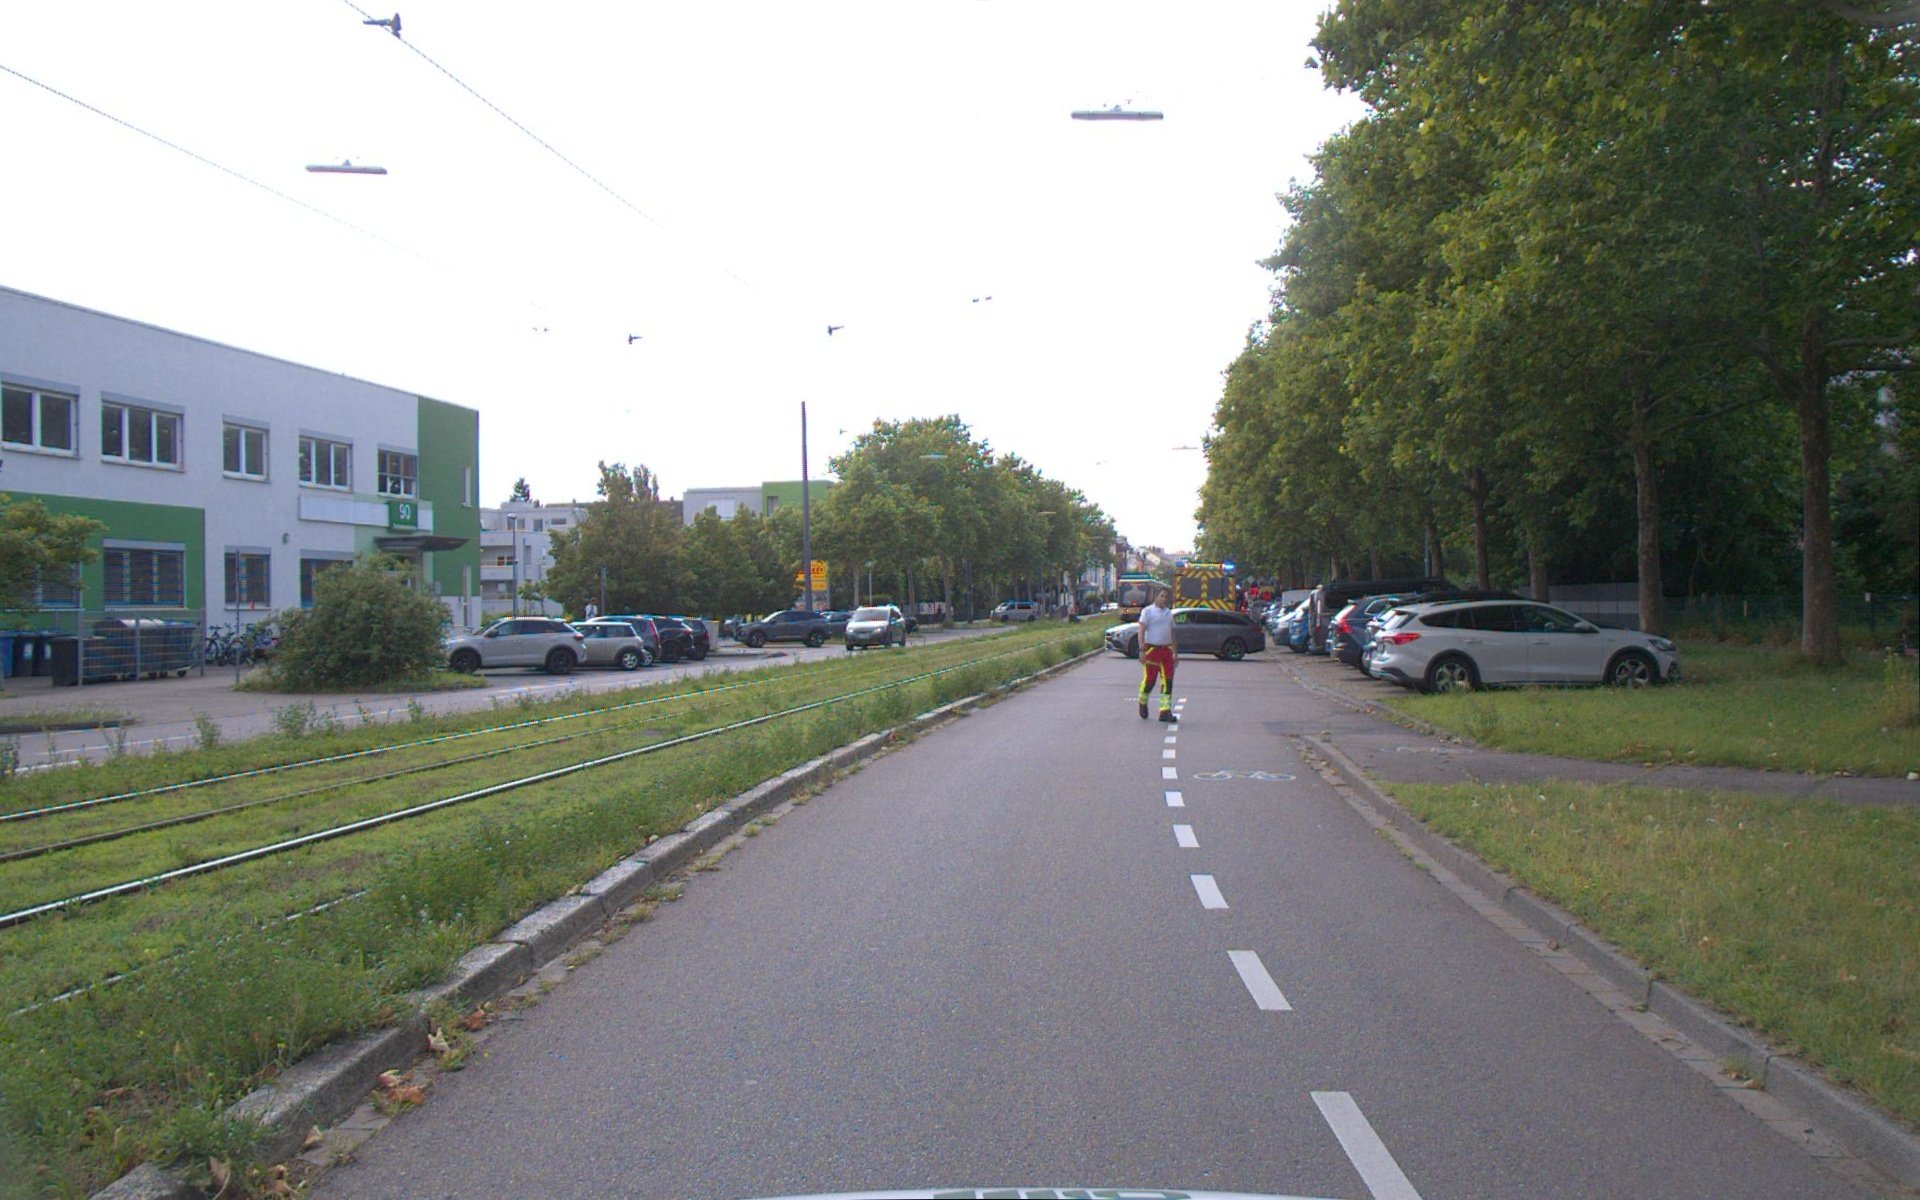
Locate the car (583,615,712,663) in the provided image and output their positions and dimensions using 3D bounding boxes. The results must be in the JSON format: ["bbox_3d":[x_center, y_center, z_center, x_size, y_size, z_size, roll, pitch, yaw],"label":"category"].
[{"bbox_3d":[-10.880,1.340,57.622,4.160,1.508,1.872,-1,0,-20],"label":"car"}]

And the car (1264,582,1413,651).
[{"bbox_3d":[12.195,0.530,53.489,4.449,2.036,1.857,-2,-1,5],"label":"car"}]

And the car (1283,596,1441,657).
[{"bbox_3d":[12.320,0.809,50.895,4.450,1.689,1.857,-2,-1,4],"label":"car"}]

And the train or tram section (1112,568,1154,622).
[{"bbox_3d":[12.330,-0.290,117.465,2.458,3.647,7.450,-2,-1,8],"label":"train or tram section"}]

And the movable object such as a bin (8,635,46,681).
[{"bbox_3d":[-22.257,1.388,39.455,0.556,1.060,0.565,1,1,10],"label":"movable object such as a bin"}]

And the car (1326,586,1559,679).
[{"bbox_3d":[9.565,0.644,33.115,4.287,1.668,1.757,-2,-1,11],"label":"car"}]

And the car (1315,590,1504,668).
[{"bbox_3d":[10.422,0.670,38.527,3.885,1.633,1.755,-2,-1,-2],"label":"car"}]

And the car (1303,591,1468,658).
[{"bbox_3d":[12.363,0.715,48.320,4.449,1.797,1.857,-2,-1,8],"label":"car"}]

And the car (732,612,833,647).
[{"bbox_3d":[-7.721,1.281,71.826,4.152,1.508,1.875,0,-1,-16],"label":"car"}]

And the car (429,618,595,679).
[{"bbox_3d":[-12.371,1.303,45.652,4.168,1.508,1.868,-1,0,-25],"label":"car"}]

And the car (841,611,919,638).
[{"bbox_3d":[-4.629,1.429,95.932,4.178,1.508,1.864,0,-1,-31],"label":"car"}]

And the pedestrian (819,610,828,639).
[{"bbox_3d":[-8.358,1.497,101.275,0.456,1.706,0.604,-1,-1,7],"label":"pedestrian"}]

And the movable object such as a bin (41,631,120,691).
[{"bbox_3d":[-19.564,1.338,36.824,0.984,1.255,1.257,1,1,11],"label":"movable object such as a bin"}]

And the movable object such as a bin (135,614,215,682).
[{"bbox_3d":[-18.968,1.148,40.005,0.984,1.546,1.606,1,1,11],"label":"movable object such as a bin"}]

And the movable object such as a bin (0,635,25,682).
[{"bbox_3d":[-22.390,1.376,38.813,0.556,1.060,0.565,1,1,10],"label":"movable object such as a bin"}]

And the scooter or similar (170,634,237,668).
[{"bbox_3d":[-20.924,1.411,45.735,1.698,0.915,0.459,1,-1,9],"label":"scooter or similar"}]

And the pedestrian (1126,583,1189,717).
[{"bbox_3d":[2.562,0.640,21.526,0.786,1.716,0.851,0,-1,6],"label":"pedestrian"}]

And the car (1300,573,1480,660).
[{"bbox_3d":[11.496,0.446,44.466,4.449,2.160,1.857,-2,-1,8],"label":"car"}]

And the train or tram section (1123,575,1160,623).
[{"bbox_3d":[14.540,-0.028,132.188,2.458,3.647,7.450,-2,-1,8],"label":"train or tram section"}]

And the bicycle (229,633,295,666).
[{"bbox_3d":[-20.407,1.448,48.359,1.818,0.915,0.459,1,-1,9],"label":"bicycle"}]

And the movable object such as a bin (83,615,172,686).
[{"bbox_3d":[-19.275,1.146,38.335,0.984,1.546,1.713,1,1,11],"label":"movable object such as a bin"}]

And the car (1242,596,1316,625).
[{"bbox_3d":[20.357,0.670,105.770,4.449,1.637,1.857,-2,-1,5],"label":"car"}]

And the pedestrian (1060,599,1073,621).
[{"bbox_3d":[7.328,0.686,113.681,0.862,1.552,0.751,1,-1,8],"label":"pedestrian"}]

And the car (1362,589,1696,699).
[{"bbox_3d":[8.702,0.661,25.630,4.560,1.499,1.849,-2,0,5],"label":"car"}]

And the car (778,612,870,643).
[{"bbox_3d":[-6.748,1.349,81.962,4.171,1.508,1.867,0,-1,-27],"label":"car"}]

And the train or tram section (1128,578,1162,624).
[{"bbox_3d":[15.651,0.103,139.514,2.458,3.647,7.450,-2,-1,8],"label":"train or tram section"}]

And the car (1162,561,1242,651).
[{"bbox_3d":[8.949,0.230,60.732,2.585,3.018,6.304,2,0,10],"label":"car"}]

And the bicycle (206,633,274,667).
[{"bbox_3d":[-20.562,1.428,47.224,1.818,0.915,0.459,1,-1,9],"label":"bicycle"}]

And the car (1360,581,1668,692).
[{"bbox_3d":[9.213,0.602,27.813,4.560,1.654,1.849,-2,0,5],"label":"car"}]

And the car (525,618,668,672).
[{"bbox_3d":[-11.334,1.373,51.544,4.160,1.508,1.872,-1,0,-20],"label":"car"}]

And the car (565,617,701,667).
[{"bbox_3d":[-10.791,1.356,54.598,4.160,1.508,1.872,-1,0,-20],"label":"car"}]

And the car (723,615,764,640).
[{"bbox_3d":[-15.932,2.006,121.907,1.951,1.780,4.003,1,0,9],"label":"car"}]

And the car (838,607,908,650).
[{"bbox_3d":[-3.470,1.108,66.438,1.951,1.585,4.373,-2,0,8],"label":"car"}]

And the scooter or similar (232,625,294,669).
[{"bbox_3d":[-19.231,1.285,45.656,1.282,1.176,1.089,0,-1,38],"label":"scooter or similar"}]

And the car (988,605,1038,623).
[{"bbox_3d":[5.138,1.359,159.784,4.564,1.661,1.864,-1,0,-30],"label":"car"}]

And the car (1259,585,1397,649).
[{"bbox_3d":[12.859,0.589,58.040,4.449,2.079,1.857,-2,-1,5],"label":"car"}]

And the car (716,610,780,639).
[{"bbox_3d":[-13.715,1.574,106.898,3.927,1.780,1.989,1,0,41],"label":"car"}]

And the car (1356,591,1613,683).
[{"bbox_3d":[9.540,0.669,30.403,4.287,1.527,1.757,-2,0,11],"label":"car"}]

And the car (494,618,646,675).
[{"bbox_3d":[-11.492,1.349,48.711,4.160,1.508,1.872,-1,0,-20],"label":"car"}]

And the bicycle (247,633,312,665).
[{"bbox_3d":[-20.257,1.464,49.248,1.818,0.915,0.459,1,-1,9],"label":"bicycle"}]

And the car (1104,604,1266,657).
[{"bbox_3d":[6.426,0.864,47.542,4.363,1.410,1.766,1,0,-2],"label":"car"}]

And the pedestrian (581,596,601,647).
[{"bbox_3d":[-13.762,0.806,61.675,0.534,1.860,0.509,-1,-1,7],"label":"pedestrian"}]

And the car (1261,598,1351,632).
[{"bbox_3d":[18.338,0.775,87.759,4.449,1.637,1.857,-2,-1,5],"label":"car"}]

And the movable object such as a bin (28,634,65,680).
[{"bbox_3d":[-22.154,1.380,40.111,0.556,1.060,0.565,1,1,10],"label":"movable object such as a bin"}]
